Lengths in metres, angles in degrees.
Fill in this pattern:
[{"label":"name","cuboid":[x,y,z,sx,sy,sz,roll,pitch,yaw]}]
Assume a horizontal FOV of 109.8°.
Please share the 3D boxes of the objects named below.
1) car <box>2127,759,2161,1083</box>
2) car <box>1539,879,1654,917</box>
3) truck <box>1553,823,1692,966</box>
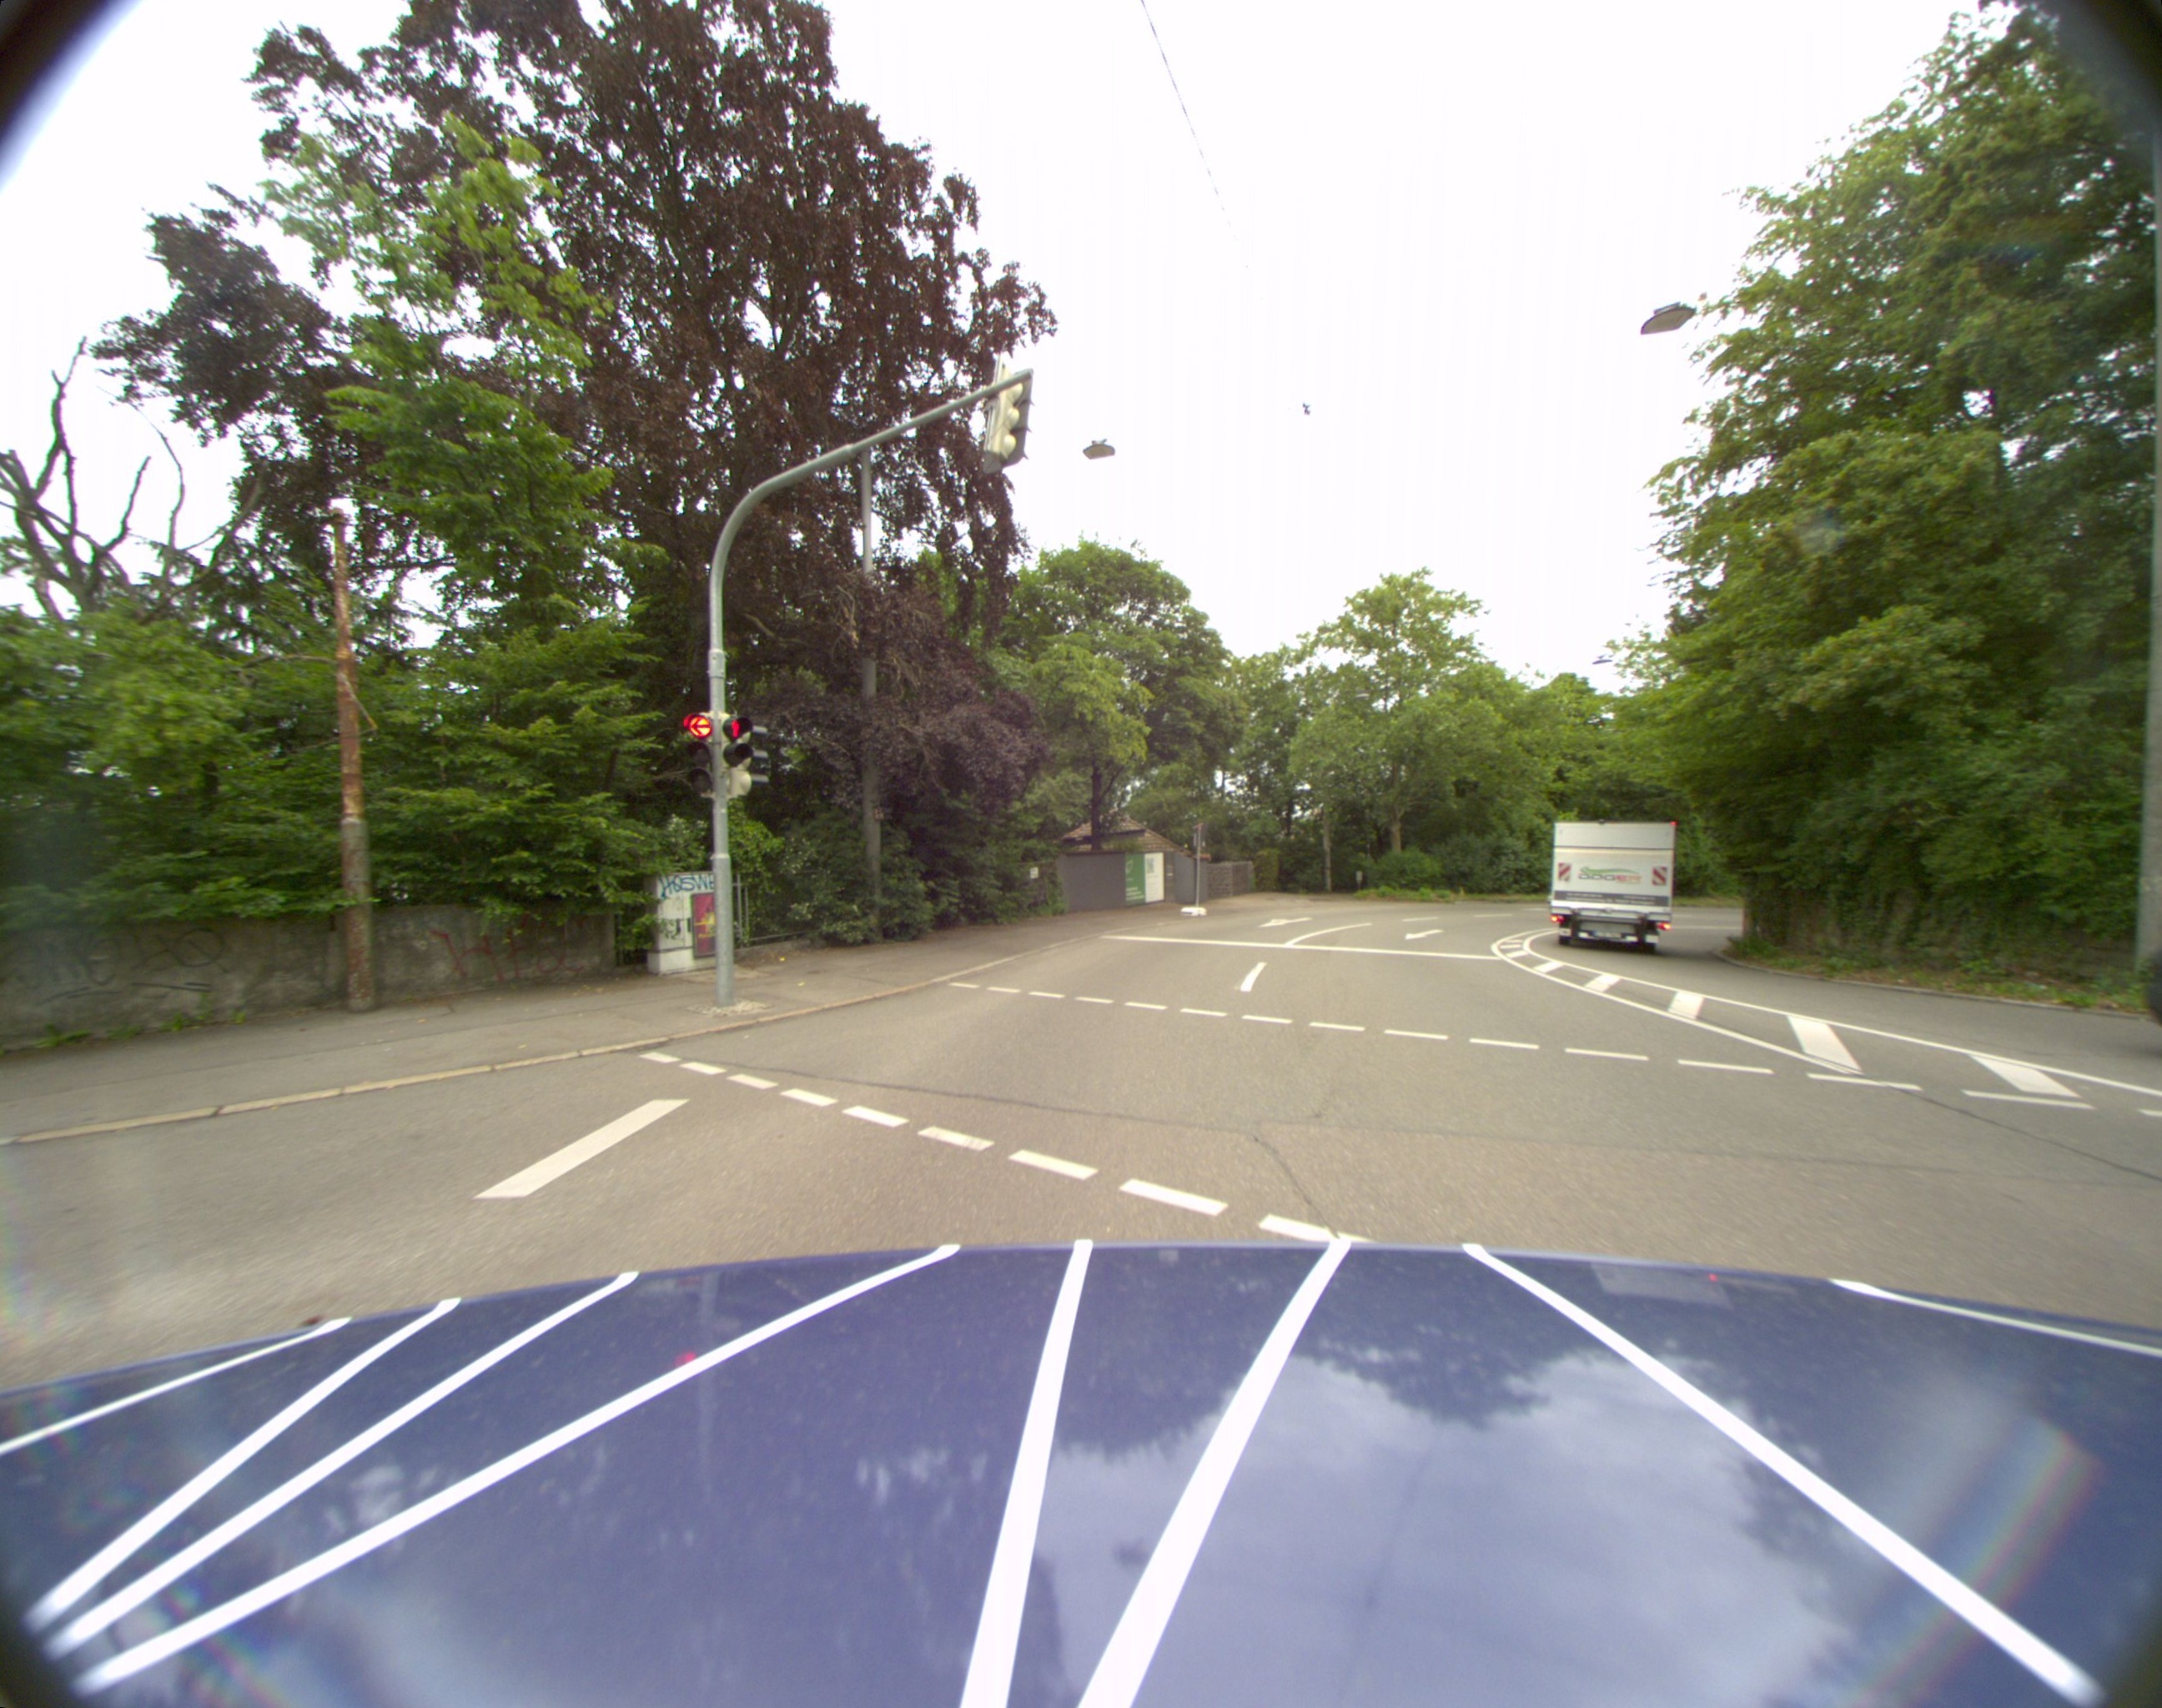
[{"label":"car","cuboid":[9.073,0.400,2.857,1.999,2.398,5.897,-1,-2,-2]},{"label":"car","cuboid":[24.535,2.088,36.191,4.528,1.543,1.915,2,2,-13]},{"label":"truck","cuboid":[14.008,0.983,20.008,2.402,3.070,6.359,4,0,33]}]
